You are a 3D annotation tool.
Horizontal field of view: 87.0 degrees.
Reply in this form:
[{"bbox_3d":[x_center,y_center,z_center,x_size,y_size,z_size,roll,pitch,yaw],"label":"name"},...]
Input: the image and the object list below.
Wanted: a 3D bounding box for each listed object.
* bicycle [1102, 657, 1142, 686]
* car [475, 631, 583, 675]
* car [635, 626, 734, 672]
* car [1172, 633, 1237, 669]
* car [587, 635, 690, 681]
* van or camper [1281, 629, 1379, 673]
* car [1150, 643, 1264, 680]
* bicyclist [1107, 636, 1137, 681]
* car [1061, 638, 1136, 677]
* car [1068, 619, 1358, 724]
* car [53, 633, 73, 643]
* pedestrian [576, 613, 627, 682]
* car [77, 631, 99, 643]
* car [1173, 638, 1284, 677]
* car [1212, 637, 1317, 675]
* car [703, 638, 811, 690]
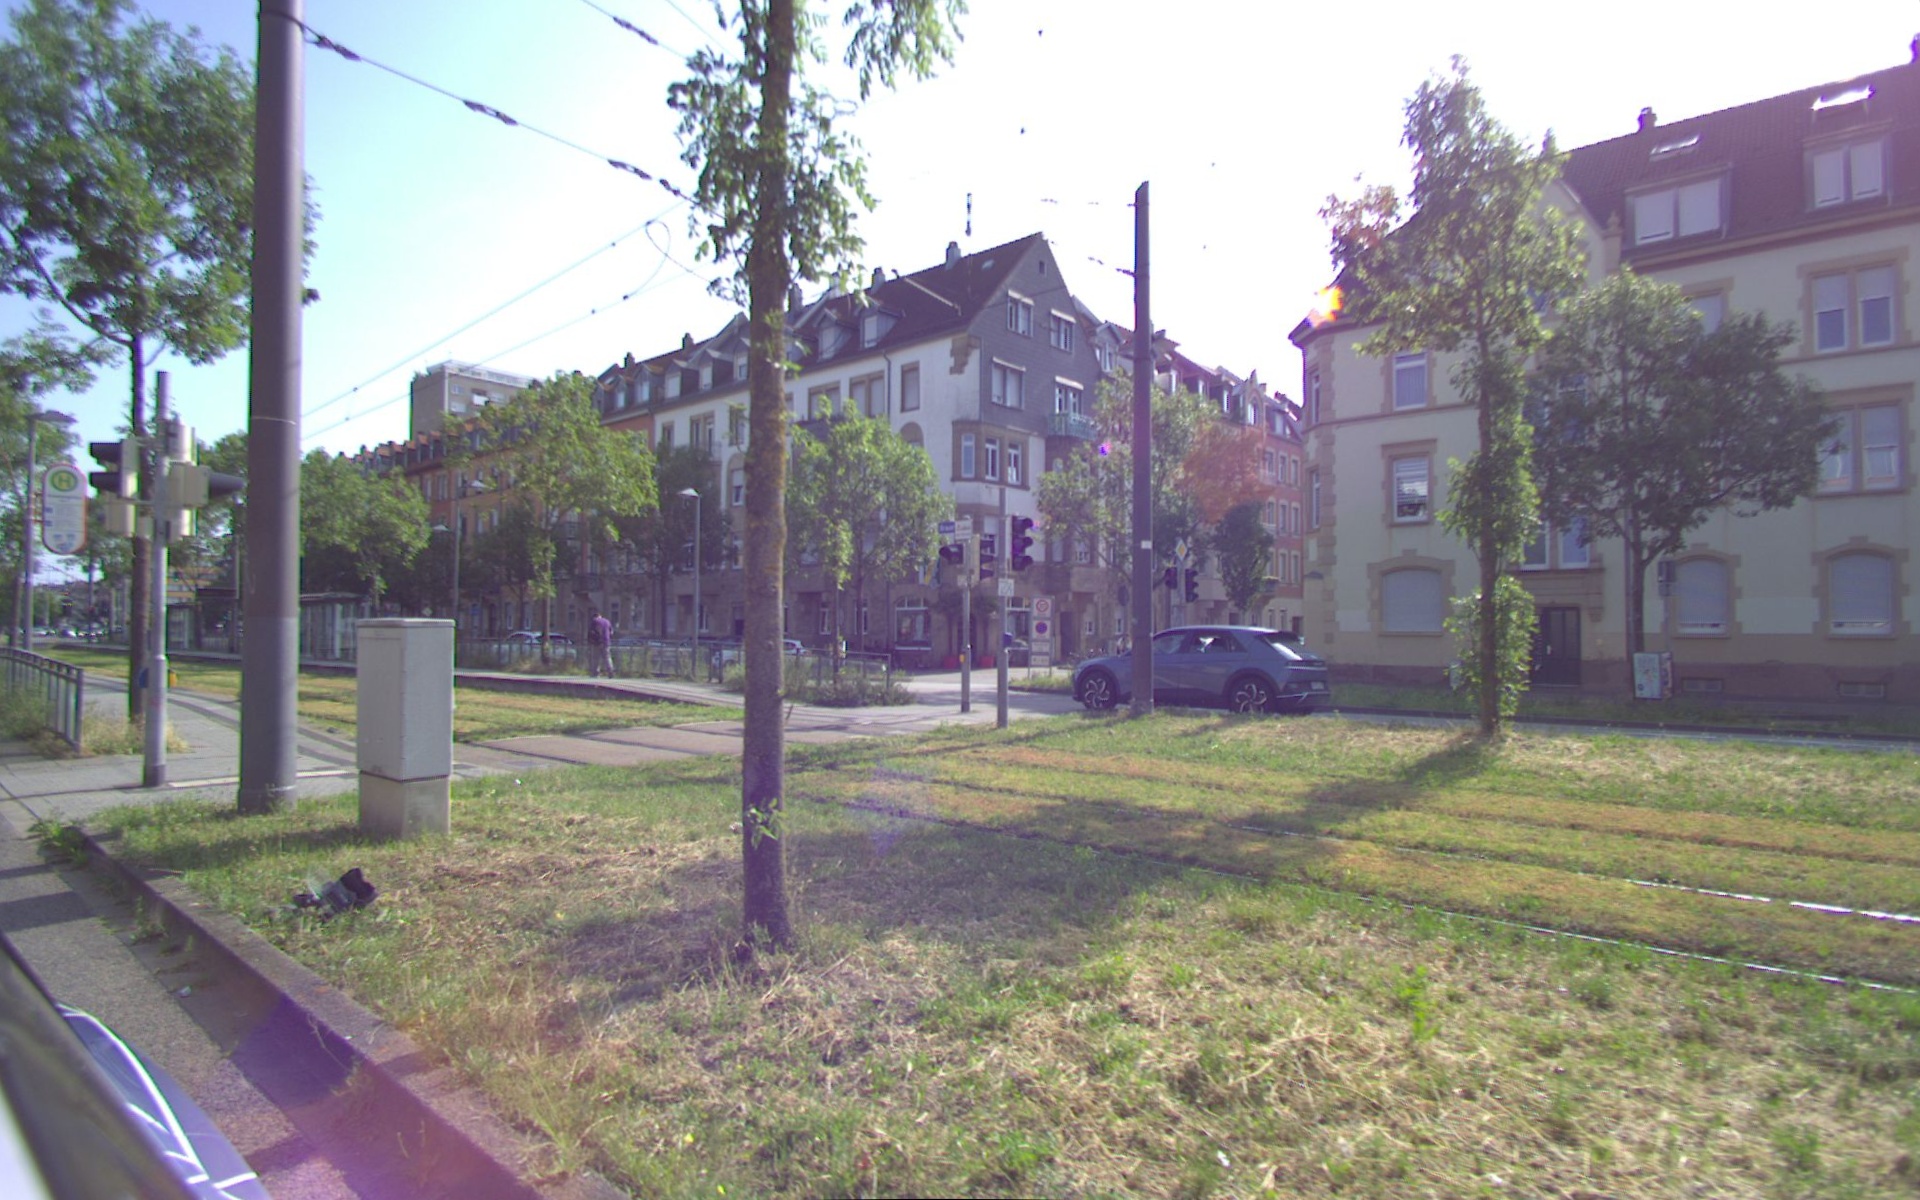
[{"bbox_3d":[5.881,2.582,36.822,0.844,0.872,2.023,-1,0,-8],"label":"bicycle"},{"bbox_3d":[-15.206,1.836,35.610,4.422,1.451,1.753,-1,-3,41],"label":"car"},{"bbox_3d":[-11.756,2.053,43.328,3.933,1.739,2.005,-1,0,-14],"label":"car"},{"bbox_3d":[13.285,2.727,54.942,1.727,1.707,3.944,-1,0,42],"label":"car"},{"bbox_3d":[-11.468,2.022,36.032,3.998,1.526,1.650,-1,-3,41],"label":"car"},{"bbox_3d":[17.683,2.405,48.683,1.746,1.936,5.089,1,-2,-16],"label":"van or camper"},{"bbox_3d":[9.493,2.340,39.049,3.998,1.309,1.650,-1,-3,41],"label":"car"},{"bbox_3d":[5.876,2.123,36.763,0.835,1.570,0.904,-1,0,-8],"label":"bicyclist"},{"bbox_3d":[6.528,2.657,47.432,1.604,1.595,3.774,-1,0,42],"label":"car"},{"bbox_3d":[4.291,1.142,17.648,4.575,1.544,1.815,-1,0,41],"label":"car"},{"bbox_3d":[-134.644,5.688,151.914,3.998,1.526,1.650,-1,-3,41],"label":"car"},{"bbox_3d":[-8.908,1.170,25.122,0.852,1.667,0.874,-1,-2,41],"label":"pedestrian"},{"bbox_3d":[-116.074,4.936,134.649,3.998,1.526,1.650,-1,-3,41],"label":"car"},{"bbox_3d":[10.704,2.268,40.427,3.998,1.423,1.650,-1,-3,41],"label":"car"},{"bbox_3d":[12.984,2.352,43.316,3.998,1.526,1.650,-1,-3,41],"label":"car"},{"bbox_3d":[-7.840,2.418,38.880,3.933,1.739,2.005,-1,0,-14],"label":"car"}]
